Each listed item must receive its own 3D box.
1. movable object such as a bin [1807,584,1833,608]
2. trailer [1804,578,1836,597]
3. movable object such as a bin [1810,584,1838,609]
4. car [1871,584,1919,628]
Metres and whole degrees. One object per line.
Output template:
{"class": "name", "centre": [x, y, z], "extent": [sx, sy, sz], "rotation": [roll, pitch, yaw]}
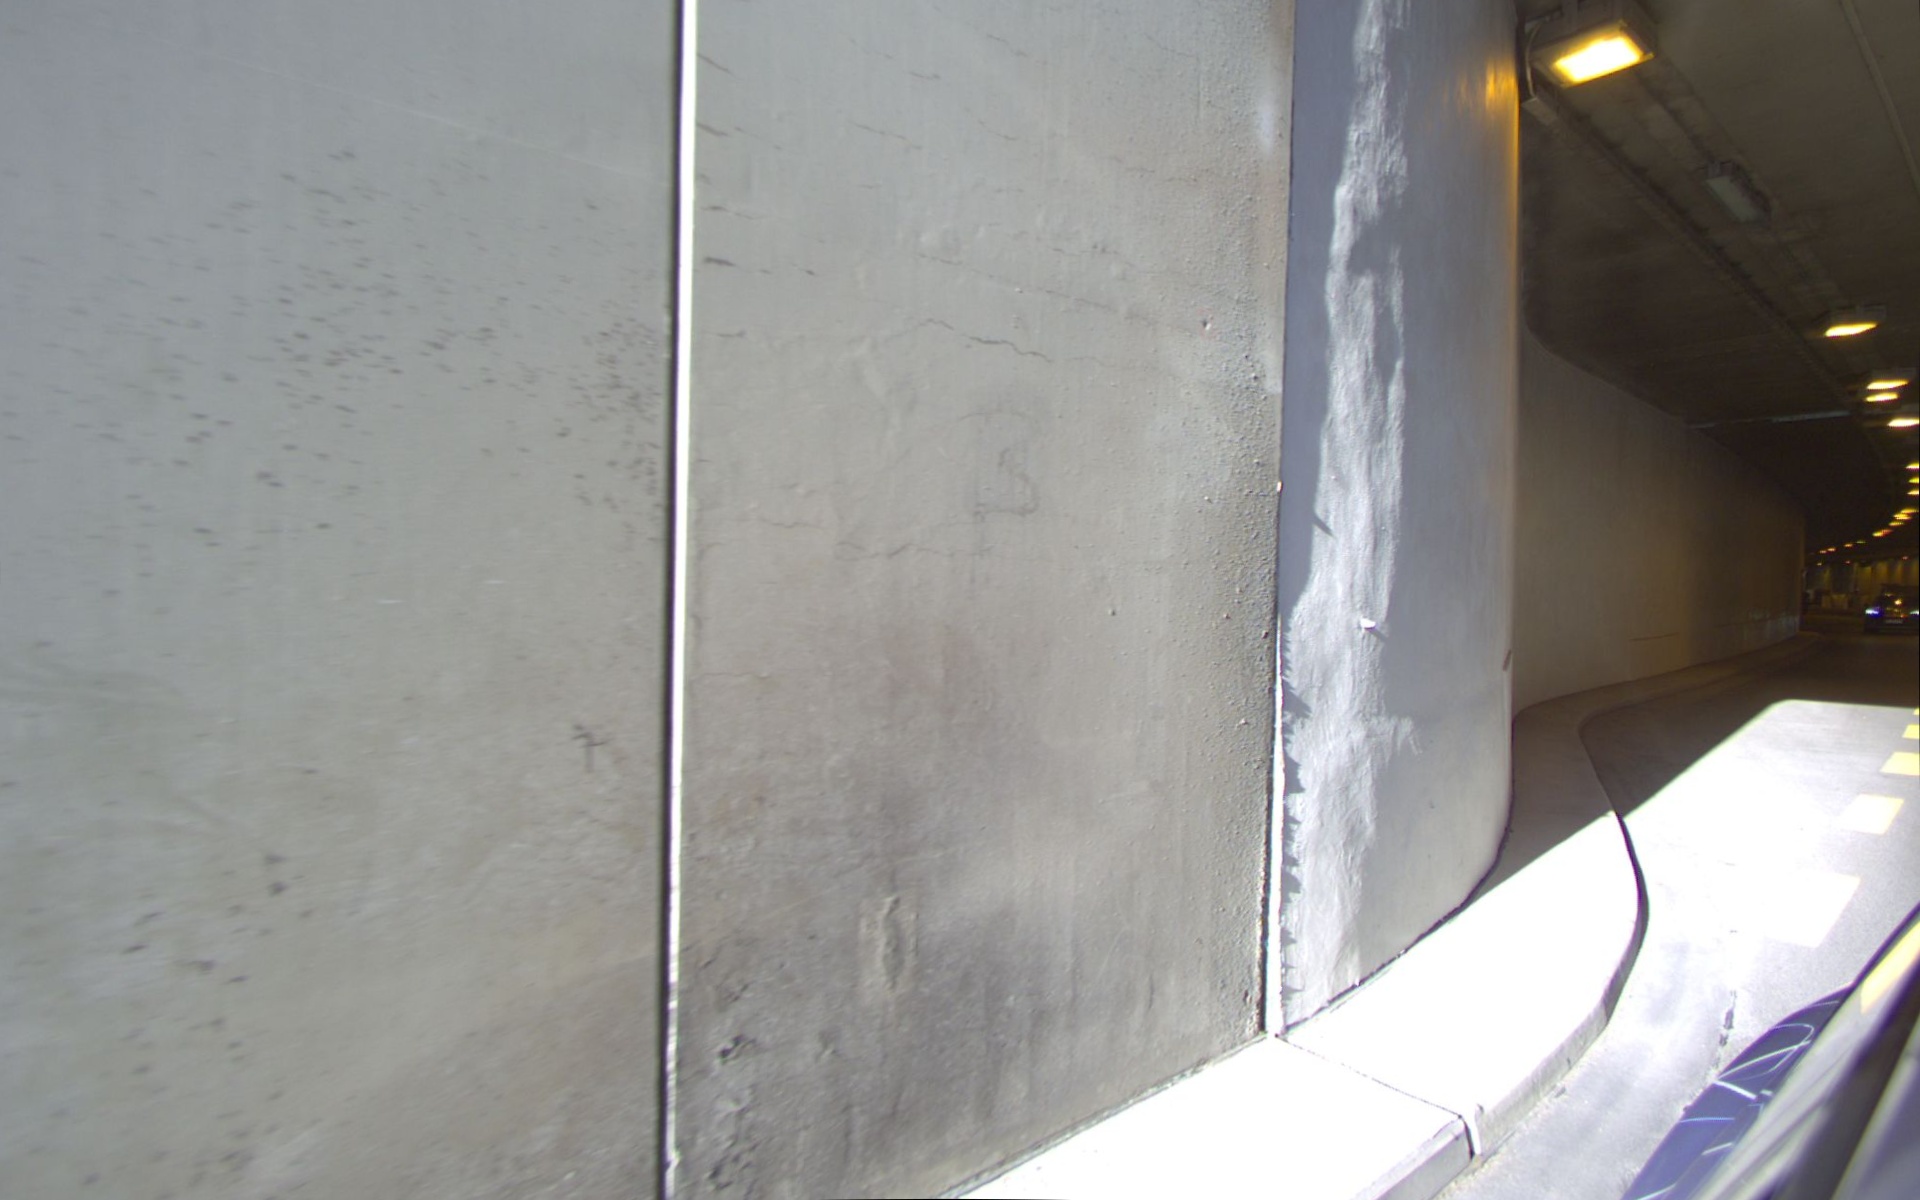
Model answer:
{"class": "movable object such as a bin", "centre": [52.385, -0.250, 61.635], "extent": [1.094, 1.463, 1.305], "rotation": [0, 1, 35]}
{"class": "trailer", "centre": [82.076, -1.198, 96.623], "extent": [1.628, 1.813, 3.094], "rotation": [0, 1, 26]}
{"class": "movable object such as a bin", "centre": [51.634, -0.216, 60.491], "extent": [1.142, 1.463, 1.347], "rotation": [0, 1, 36]}
{"class": "car", "centre": [36.408, 0.177, 38.924], "extent": [1.889, 1.565, 4.179], "rotation": [1, 2, 41]}
